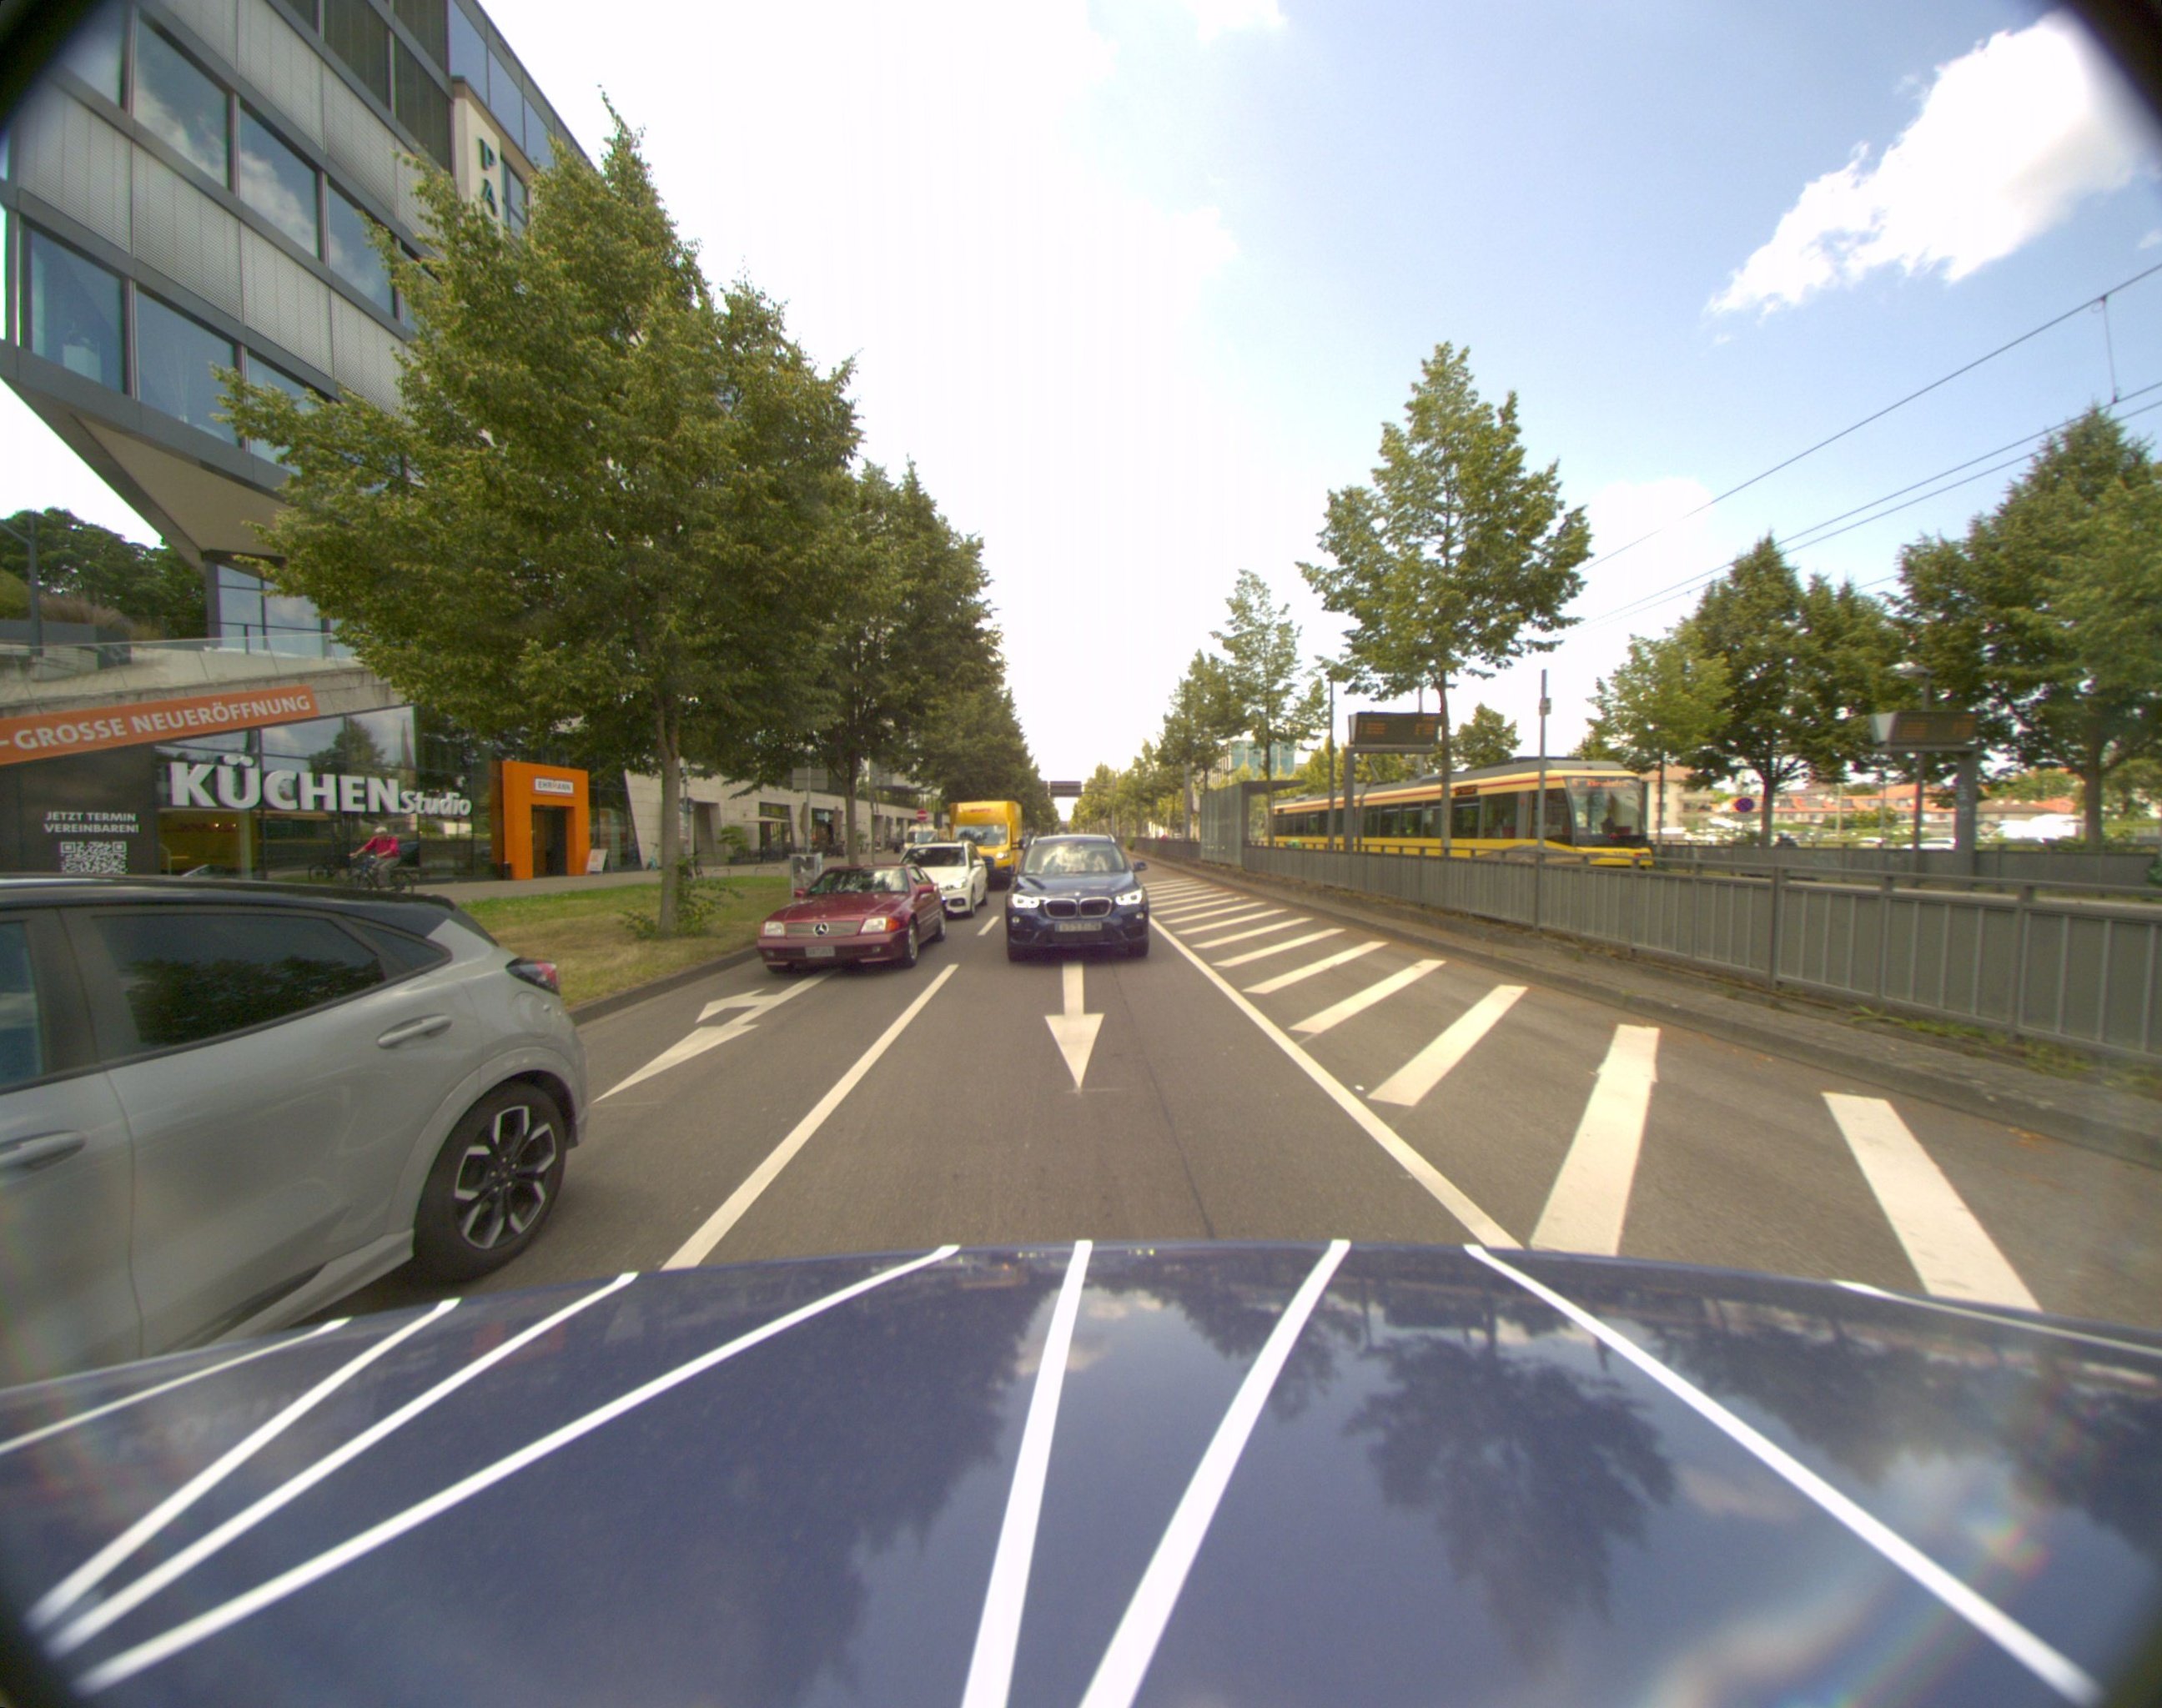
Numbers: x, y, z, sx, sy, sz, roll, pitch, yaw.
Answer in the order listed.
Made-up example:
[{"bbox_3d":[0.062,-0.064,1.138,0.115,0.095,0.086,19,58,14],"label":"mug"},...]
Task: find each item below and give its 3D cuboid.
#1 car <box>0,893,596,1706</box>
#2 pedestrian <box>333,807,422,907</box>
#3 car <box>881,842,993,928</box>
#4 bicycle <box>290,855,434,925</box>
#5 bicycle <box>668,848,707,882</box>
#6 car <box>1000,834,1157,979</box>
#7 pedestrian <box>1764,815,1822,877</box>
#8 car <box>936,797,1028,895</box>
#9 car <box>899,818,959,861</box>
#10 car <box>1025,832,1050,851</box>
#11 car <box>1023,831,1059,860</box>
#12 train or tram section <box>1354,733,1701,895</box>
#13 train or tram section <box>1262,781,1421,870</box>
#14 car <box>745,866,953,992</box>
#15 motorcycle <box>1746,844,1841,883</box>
[{"bbox_3d":[-2.989,0.972,1.271,1.674,1.463,4.091,0,2,0],"label":"car"},{"bbox_3d":[-14.921,0.052,16.147,0.754,2.002,1.231,2,1,-3],"label":"pedestrian"},{"bbox_3d":[-3.023,0.575,16.798,1.674,1.590,4.126,-2,1,-1],"label":"car"},{"bbox_3d":[-14.941,0.701,15.914,0.812,1.237,2.409,3,2,-3],"label":"bicycle"},{"bbox_3d":[-13.027,0.342,25.207,0.516,1.082,1.747,0,1,-5],"label":"bicycle"},{"bbox_3d":[-0.054,0.566,11.004,1.774,1.590,4.125,-2,2,-1],"label":"car"},{"bbox_3d":[19.572,-0.232,20.909,0.825,1.663,0.773,0,2,1],"label":"pedestrian"},{"bbox_3d":[-3.186,-0.355,26.196,2.284,2.837,7.252,-2,2,-1],"label":"car"},{"bbox_3d":[-9.280,-0.942,46.999,2.161,2.380,6.276,-2,2,2],"label":"car"},{"bbox_3d":[-4.009,-1.175,70.454,1.823,1.642,3.999,-2,2,2],"label":"car"},{"bbox_3d":[-2.561,-0.592,49.328,1.998,1.751,4.294,-2,2,0],"label":"car"},{"bbox_3d":[12.738,-1.082,24.301,2.850,3.719,13.471,0,1,-1],"label":"train or tram section"},{"bbox_3d":[12.364,-1.343,38.333,2.694,3.618,14.658,0,1,-1],"label":"train or tram section"},{"bbox_3d":[-2.934,0.871,10.541,1.674,1.254,4.091,0,1,-1],"label":"car"},{"bbox_3d":[19.592,0.239,20.957,0.572,0.988,2.194,0,1,1],"label":"motorcycle"}]
